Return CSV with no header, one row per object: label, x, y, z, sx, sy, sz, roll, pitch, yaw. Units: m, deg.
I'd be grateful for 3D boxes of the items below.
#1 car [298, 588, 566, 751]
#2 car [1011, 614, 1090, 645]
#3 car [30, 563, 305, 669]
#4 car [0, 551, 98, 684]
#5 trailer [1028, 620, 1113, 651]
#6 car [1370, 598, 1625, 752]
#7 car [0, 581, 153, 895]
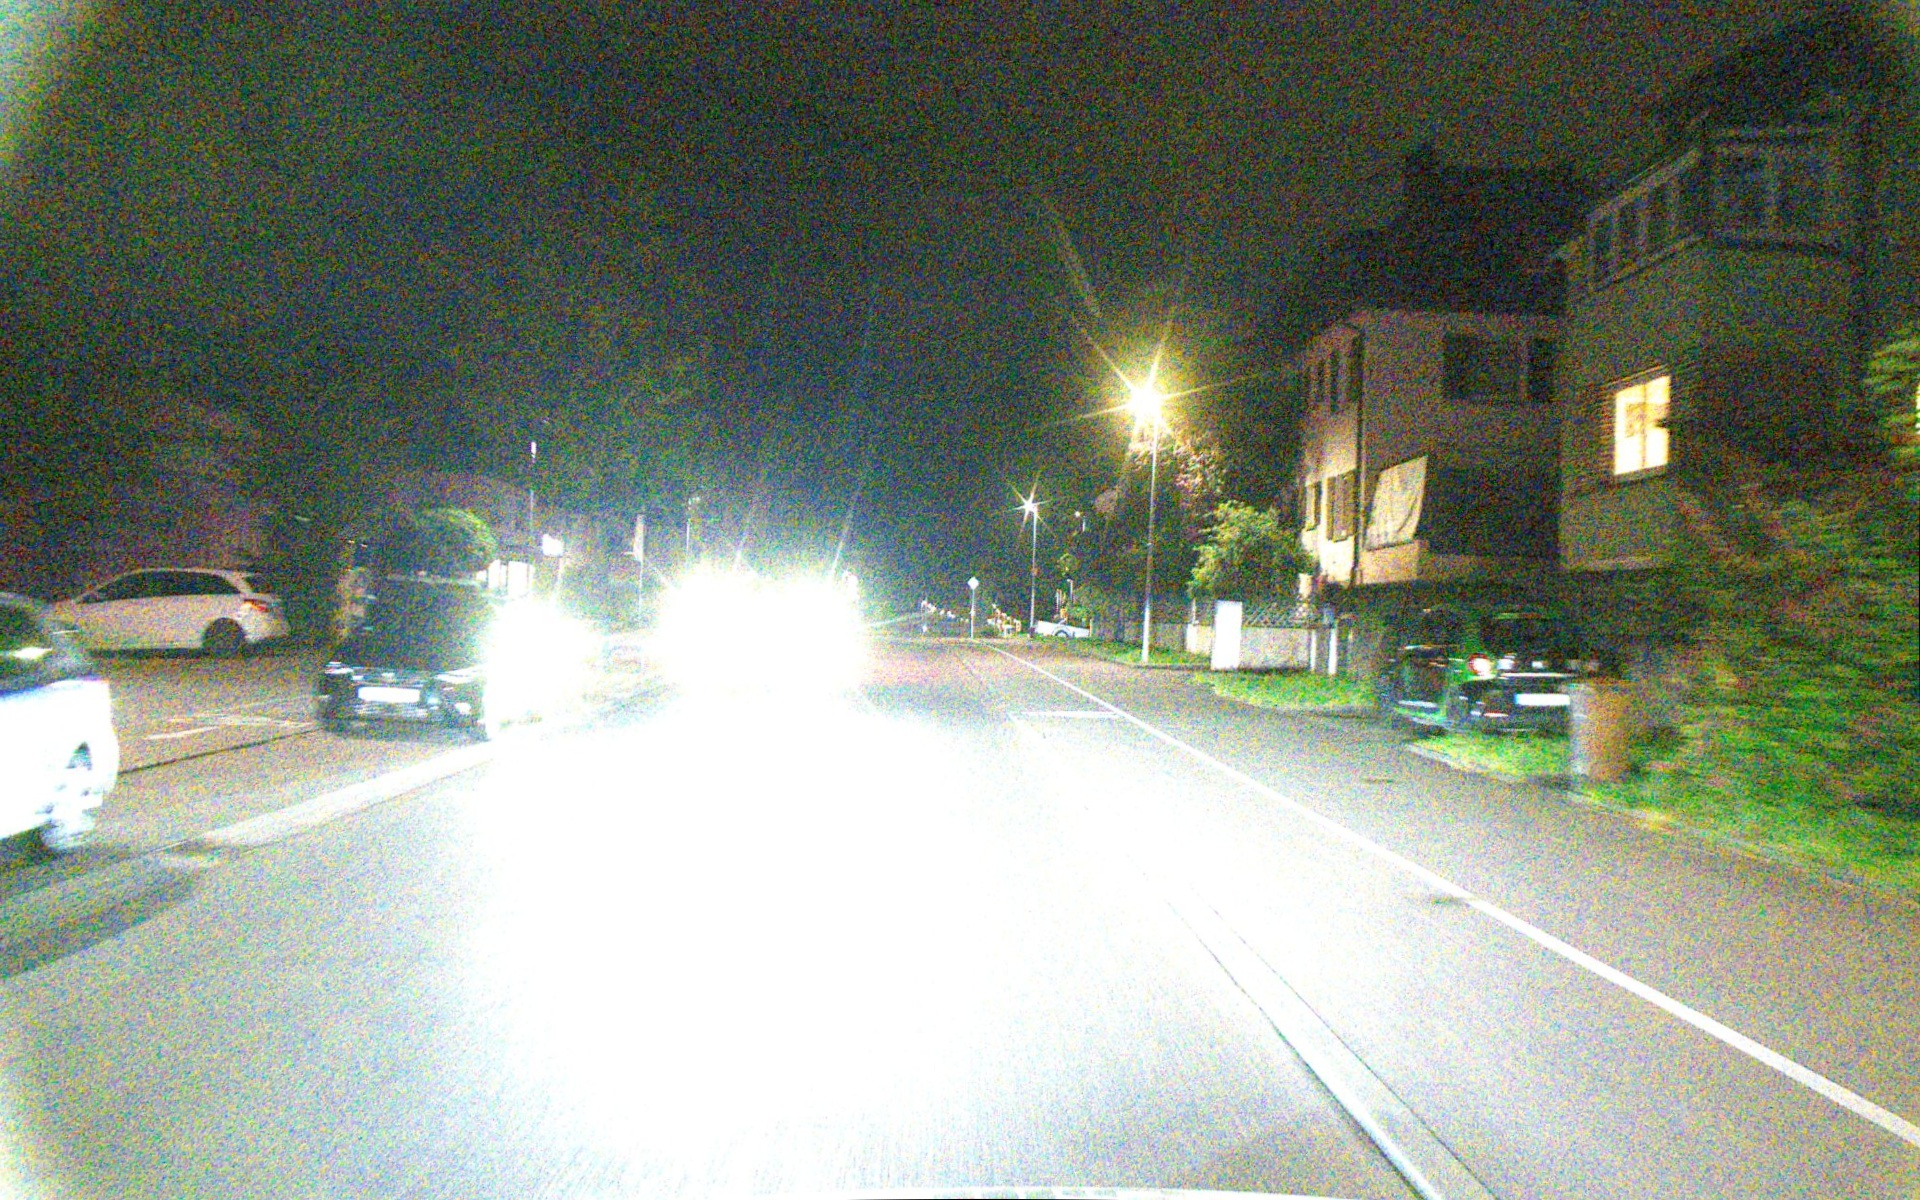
car,-5.526,0.665,17.832,1.714,1.494,4.007,2,0,-3
car,4.064,1.327,74.463,3.324,1.253,1.723,2,0,-4
car,-13.789,0.263,29.001,3.913,1.732,1.944,-1,0,-9
car,-13.960,0.229,21.905,4.032,1.691,2.000,0,0,-1
trailer,4.692,1.508,70.558,3.364,1.019,1.953,5,-1,-2
car,6.074,0.785,19.112,1.606,1.587,3.676,1,0,-3
car,-5.448,0.641,7.489,1.735,1.494,3.964,2,0,-3
